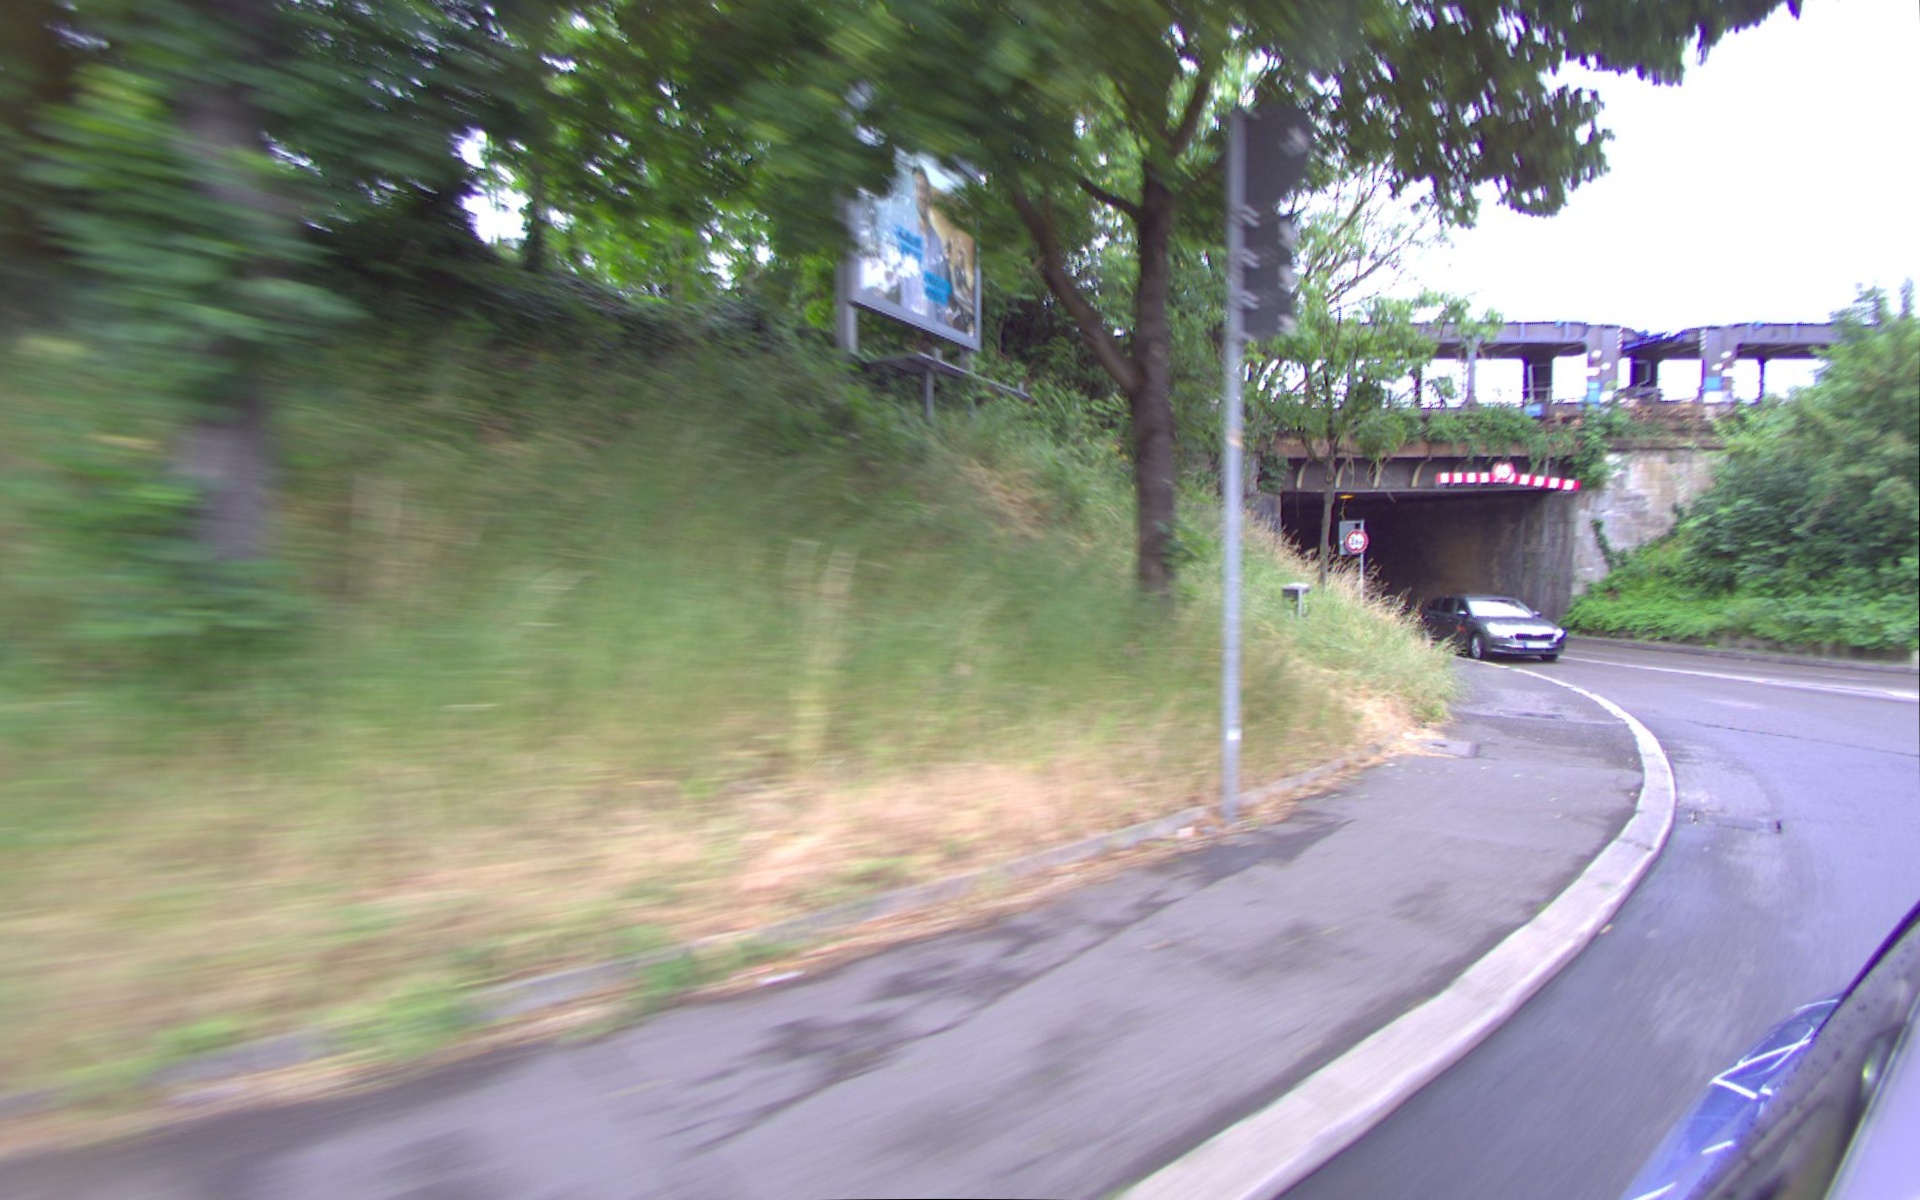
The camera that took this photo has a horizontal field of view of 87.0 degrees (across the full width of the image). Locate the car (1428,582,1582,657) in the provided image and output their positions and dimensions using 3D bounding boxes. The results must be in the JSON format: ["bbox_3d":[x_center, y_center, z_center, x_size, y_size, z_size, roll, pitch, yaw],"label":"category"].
[{"bbox_3d":[12.754,0.403,23.977,1.781,1.536,4.047,-1,2,6],"label":"car"}]
